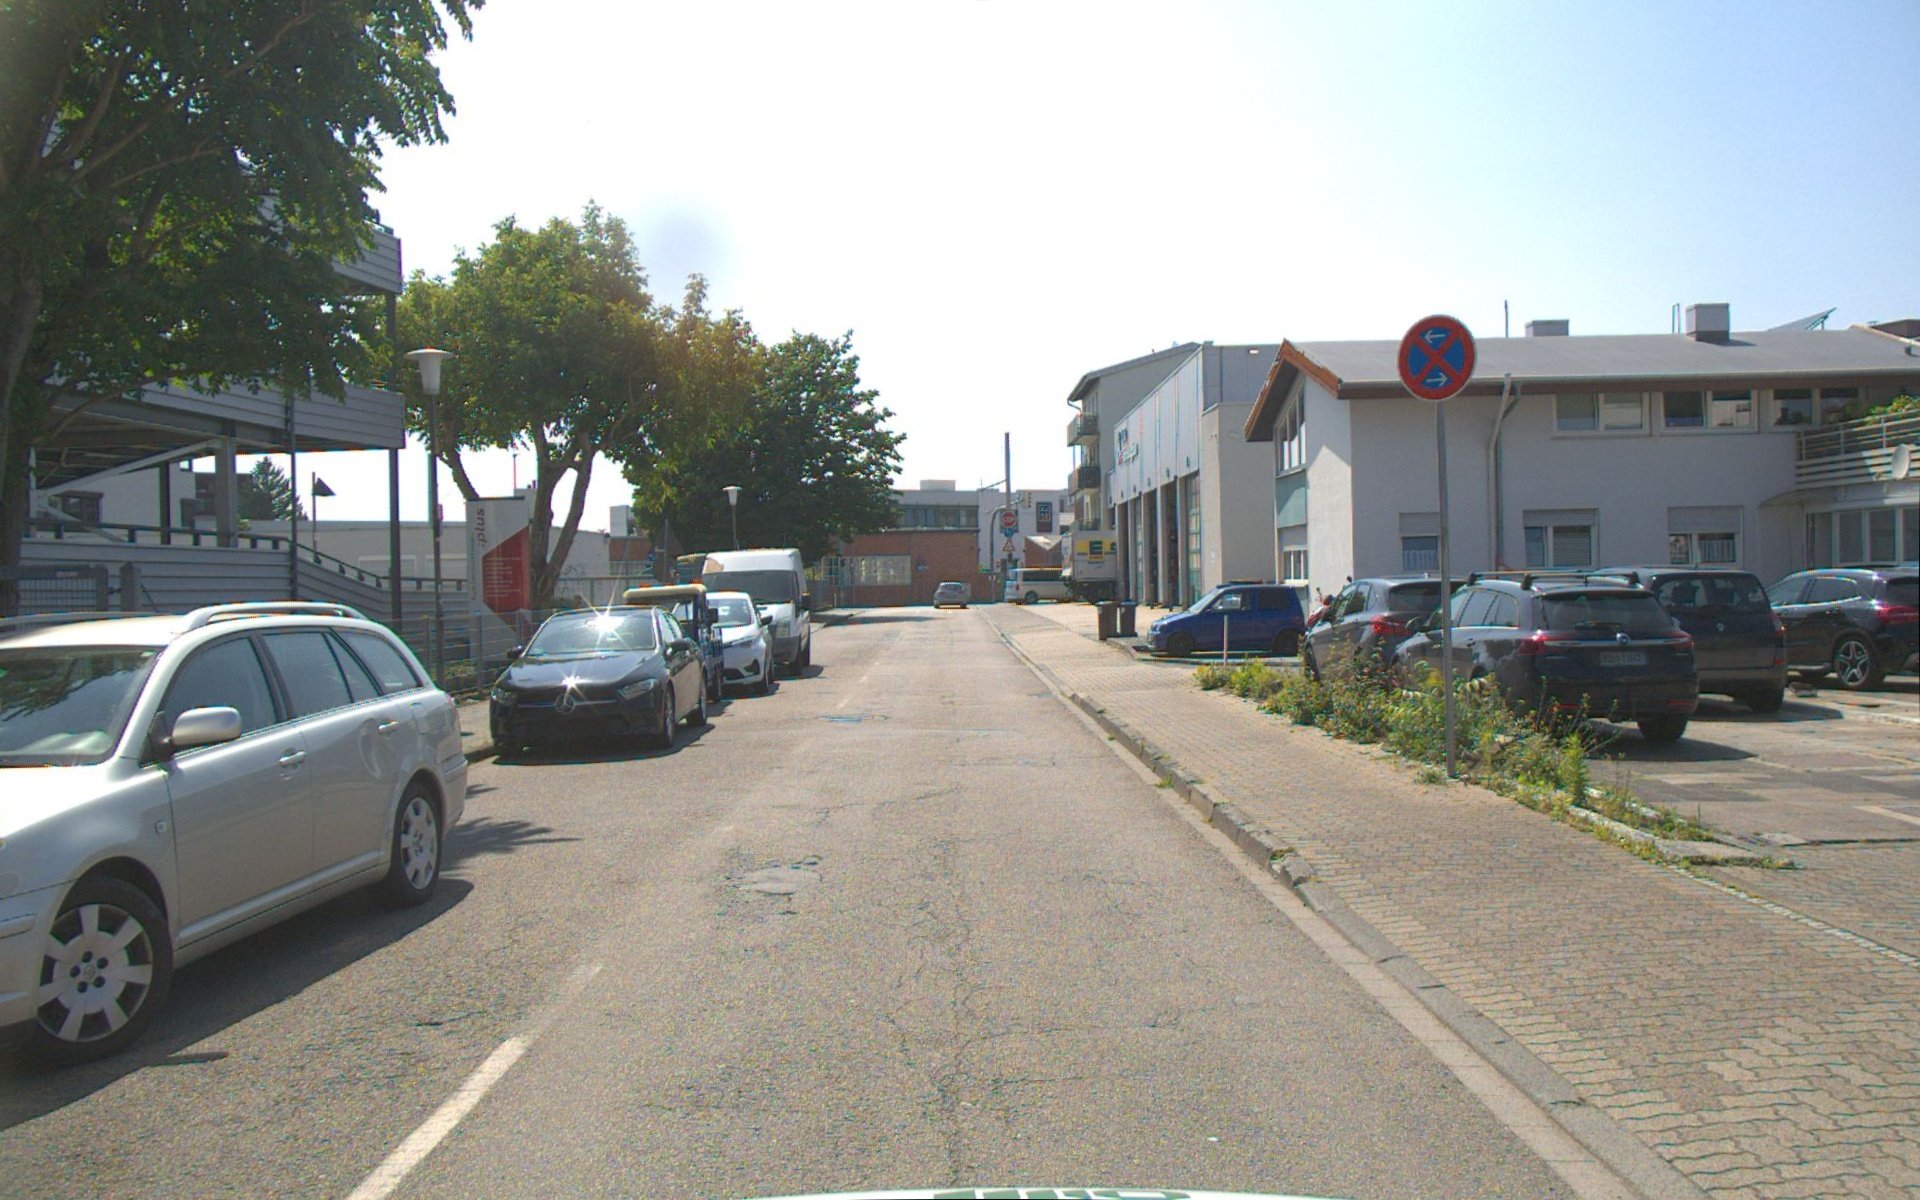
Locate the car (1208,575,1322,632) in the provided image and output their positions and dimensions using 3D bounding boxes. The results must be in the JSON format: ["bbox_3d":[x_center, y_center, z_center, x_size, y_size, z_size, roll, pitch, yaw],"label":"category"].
[{"bbox_3d":[9.157,0.103,49.532,1.746,1.566,3.682,-1,1,41],"label":"car"}]

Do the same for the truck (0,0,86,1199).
[{"bbox_3d":[-3.677,-0.146,0.956,2.631,3.425,7.127,-2,-1,-1],"label":"truck"}]

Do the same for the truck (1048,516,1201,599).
[{"bbox_3d":[8.400,-2.151,84.973,7.220,3.708,2.764,-4,1,-7],"label":"truck"}]

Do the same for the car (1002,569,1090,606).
[{"bbox_3d":[4.824,-0.725,93.338,4.585,1.992,1.905,-1,0,-20],"label":"car"}]

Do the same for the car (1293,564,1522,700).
[{"bbox_3d":[5.767,0.367,21.862,1.775,1.585,4.292,-1,0,-1],"label":"car"}]

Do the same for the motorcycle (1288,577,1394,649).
[{"bbox_3d":[7.474,0.247,32.479,1.832,1.301,0.796,-3,0,-4],"label":"motorcycle"}]

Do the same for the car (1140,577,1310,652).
[{"bbox_3d":[5.359,0.283,33.739,3.186,1.423,1.673,-1,0,0],"label":"car"}]

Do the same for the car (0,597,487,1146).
[{"bbox_3d":[-3.540,0.808,6.893,1.705,1.547,4.311,-2,0,2],"label":"car"}]

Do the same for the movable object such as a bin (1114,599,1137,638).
[{"bbox_3d":[4.186,0.464,41.734,0.502,0.962,0.488,-2,0,11],"label":"movable object such as a bin"}]

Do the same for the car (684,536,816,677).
[{"bbox_3d":[-3.945,0.091,31.879,1.965,2.407,5.227,-3,0,-2],"label":"car"}]

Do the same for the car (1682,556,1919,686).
[{"bbox_3d":[11.587,0.224,21.786,1.728,1.522,4.138,-3,0,-11],"label":"car"}]

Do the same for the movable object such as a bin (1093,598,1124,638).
[{"bbox_3d":[3.705,0.448,41.316,0.557,0.962,0.556,-1,0,33],"label":"movable object such as a bin"}]

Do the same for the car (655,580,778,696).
[{"bbox_3d":[-3.852,0.563,26.705,1.671,1.652,3.969,-2,0,-5],"label":"car"}]

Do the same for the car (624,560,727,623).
[{"bbox_3d":[-11.948,-0.366,69.662,4.003,2.557,1.776,-1,0,-3],"label":"car"}]

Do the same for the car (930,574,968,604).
[{"bbox_3d":[-0.668,-0.645,96.161,1.854,1.714,3.953,1,1,-5],"label":"car"}]

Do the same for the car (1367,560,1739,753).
[{"bbox_3d":[5.626,0.458,16.459,1.820,1.595,4.950,-1,0,-1],"label":"car"}]

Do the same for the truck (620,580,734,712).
[{"bbox_3d":[-3.897,0.592,23.095,1.116,1.650,3.139,-3,0,-3],"label":"truck"}]

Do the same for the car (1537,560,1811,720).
[{"bbox_3d":[8.178,0.403,19.290,1.723,1.622,3.620,2,1,3],"label":"car"}]

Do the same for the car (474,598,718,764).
[{"bbox_3d":[-3.751,0.767,17.746,1.670,1.488,4.114,-2,0,0],"label":"car"}]
